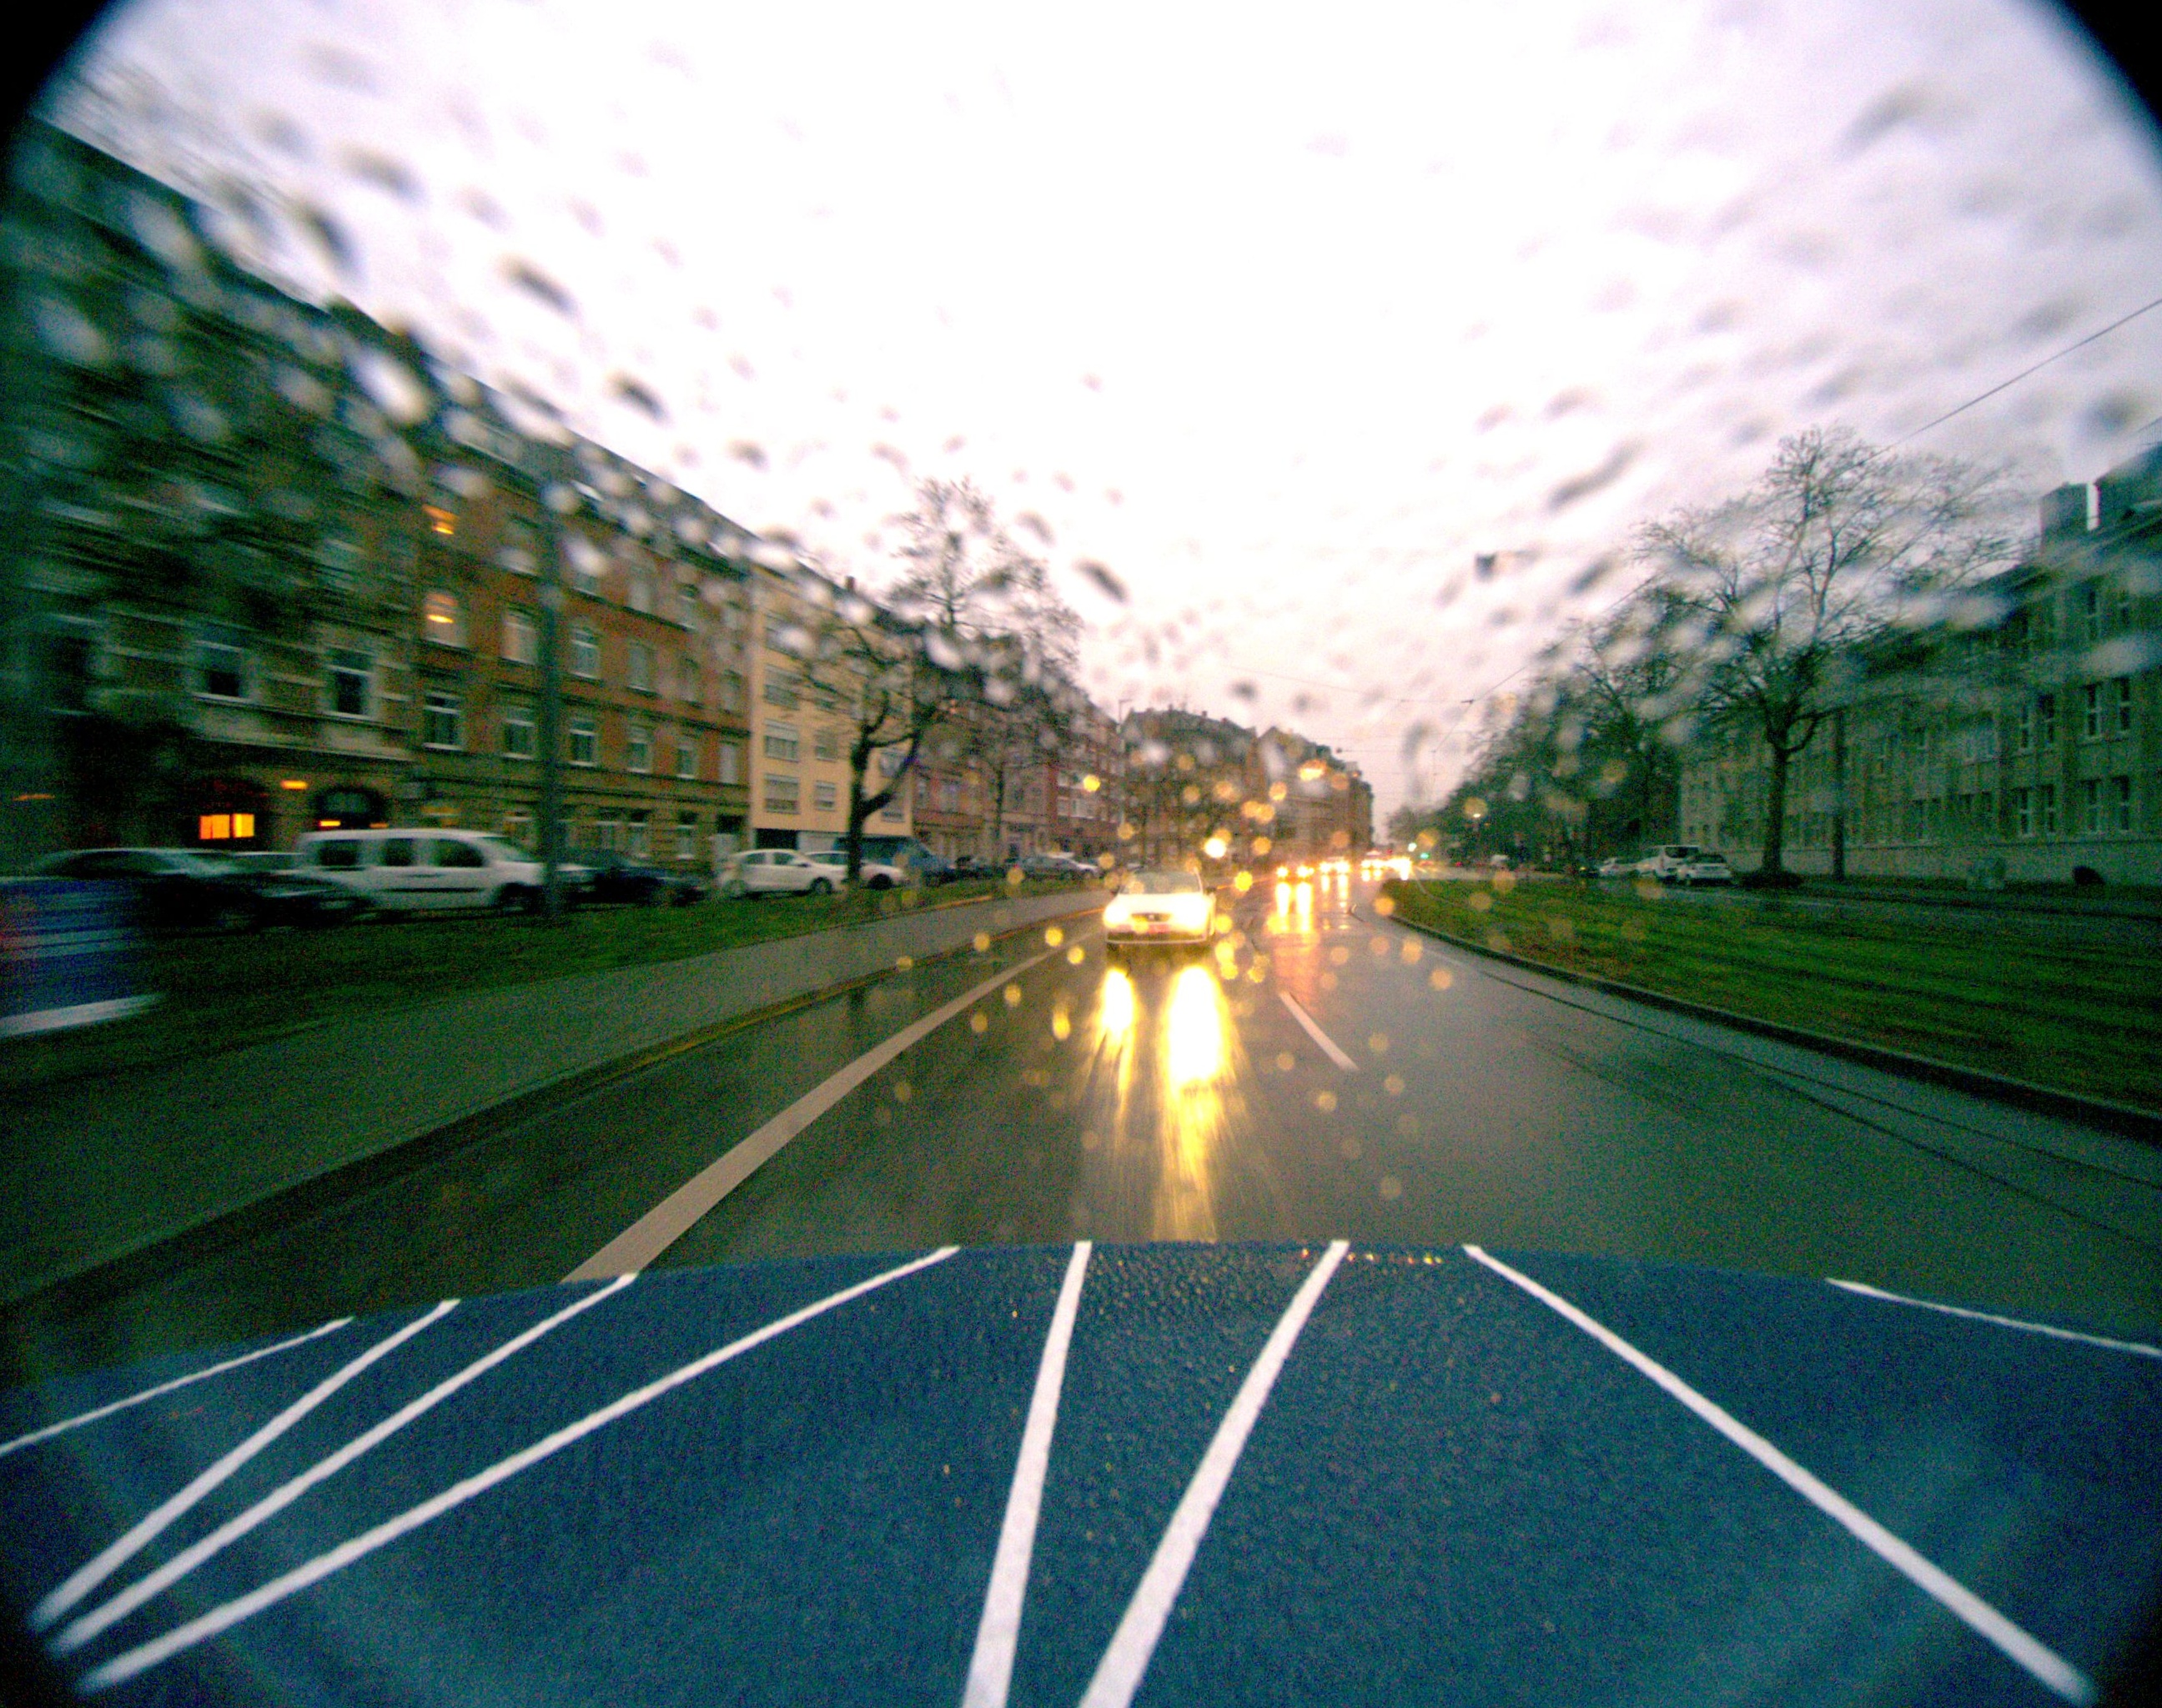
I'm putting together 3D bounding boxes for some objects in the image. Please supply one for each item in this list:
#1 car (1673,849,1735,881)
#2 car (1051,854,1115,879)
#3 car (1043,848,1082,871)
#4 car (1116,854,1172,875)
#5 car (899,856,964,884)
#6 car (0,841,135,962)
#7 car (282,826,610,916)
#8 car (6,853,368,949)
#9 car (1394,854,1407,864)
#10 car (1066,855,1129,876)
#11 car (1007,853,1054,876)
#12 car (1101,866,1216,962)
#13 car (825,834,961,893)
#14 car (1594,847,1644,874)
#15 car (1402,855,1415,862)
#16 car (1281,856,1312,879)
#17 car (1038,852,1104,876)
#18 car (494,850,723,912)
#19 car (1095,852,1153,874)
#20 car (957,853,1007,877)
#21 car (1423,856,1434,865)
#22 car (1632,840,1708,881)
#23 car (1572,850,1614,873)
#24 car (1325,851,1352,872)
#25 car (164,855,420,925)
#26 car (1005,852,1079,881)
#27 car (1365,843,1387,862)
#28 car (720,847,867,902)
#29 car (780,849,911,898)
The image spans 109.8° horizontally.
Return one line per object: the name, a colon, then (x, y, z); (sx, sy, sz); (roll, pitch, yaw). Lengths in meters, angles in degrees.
car: (29.872, 0.517, 36.539); (1.557, 1.420, 2.959); (0, 1, 23)
car: (0.105, 0.752, 45.854); (3.764, 1.324, 1.601); (-2, 0, -1)
car: (-1.460, 0.411, 62.168); (1.671, 1.693, 3.471); (-3, 0, 27)
car: (4.486, 0.753, 54.292); (3.764, 1.346, 1.601); (-2, 0, -1)
car: (-9.009, 0.952, 46.090); (1.748, 1.469, 4.184); (-3, 0, 23)
car: (-14.686, 0.624, 9.471); (3.466, 1.435, 1.613); (-2, 0, -6)
car: (-12.205, 0.333, 14.925); (4.664, 1.583, 1.776); (1, 0, -9)
car: (-14.002, 0.688, 12.131); (3.433, 1.343, 1.662); (-1, 0, -10)
car: (55.469, 0.822, 131.710); (1.646, 1.739, 3.561); (0, 0, 30)
car: (1.029, 0.729, 48.114); (3.766, 1.271, 1.600); (0, 0, -7)
car: (-3.744, 0.783, 56.839); (1.690, 1.534, 4.006); (-2, 0, 25)
car: (1.553, 1.002, 13.948); (1.713, 1.405, 3.682); (-2, 0, 11)
car: (-6.980, 0.338, 28.441); (4.725, 1.971, 1.797); (-2, 0, -14)
car: (35.435, 0.397, 50.157); (1.823, 1.645, 3.865); (-3, 0, 22)
car: (69.348, 0.872, 160.821); (1.892, 1.404, 3.955); (0, 0, 34)
car: (13.329, 0.806, 46.951); (1.587, 1.418, 3.138); (0, 0, 20)
car: (-0.577, 0.578, 43.864); (3.764, 1.325, 1.601); (0, 1, -1)
car: (-10.748, 0.615, 17.558); (4.063, 1.227, 1.769); (2, -1, -7)
car: (2.887, 0.618, 51.703); (3.764, 1.346, 1.601); (-2, 0, -1)
car: (-6.587, 0.730, 51.094); (1.470, 1.534, 3.879); (0, 0, 25)
car: (77.613, 1.461, 169.649); (1.948, 1.804, 4.008); (0, 0, 30)
car: (31.462, 0.298, 40.754); (1.995, 2.002, 4.516); (-3, 0, 22)
car: (37.837, 0.551, 56.229); (1.613, 1.650, 3.616); (0, 0, 18)
car: (22.289, 0.624, 65.707); (1.671, 1.650, 4.154); (-3, 0, 26)
car: (-19.505, 0.829, 19.052); (1.734, 1.492, 4.056); (-3, -1, 20)
car: (-2.122, 0.661, 41.025); (3.873, 1.398, 1.694); (-3, 0, -6)
car: (39.381, -0.170, 101.285); (2.126, 2.366, 5.648); (-2, 0, 26)
car: (-8.628, 0.605, 23.078); (3.773, 1.424, 1.761); (-3, 0, -4)
car: (-7.835, 0.621, 25.571); (4.001, 1.407, 1.640); (-3, 0, -14)
